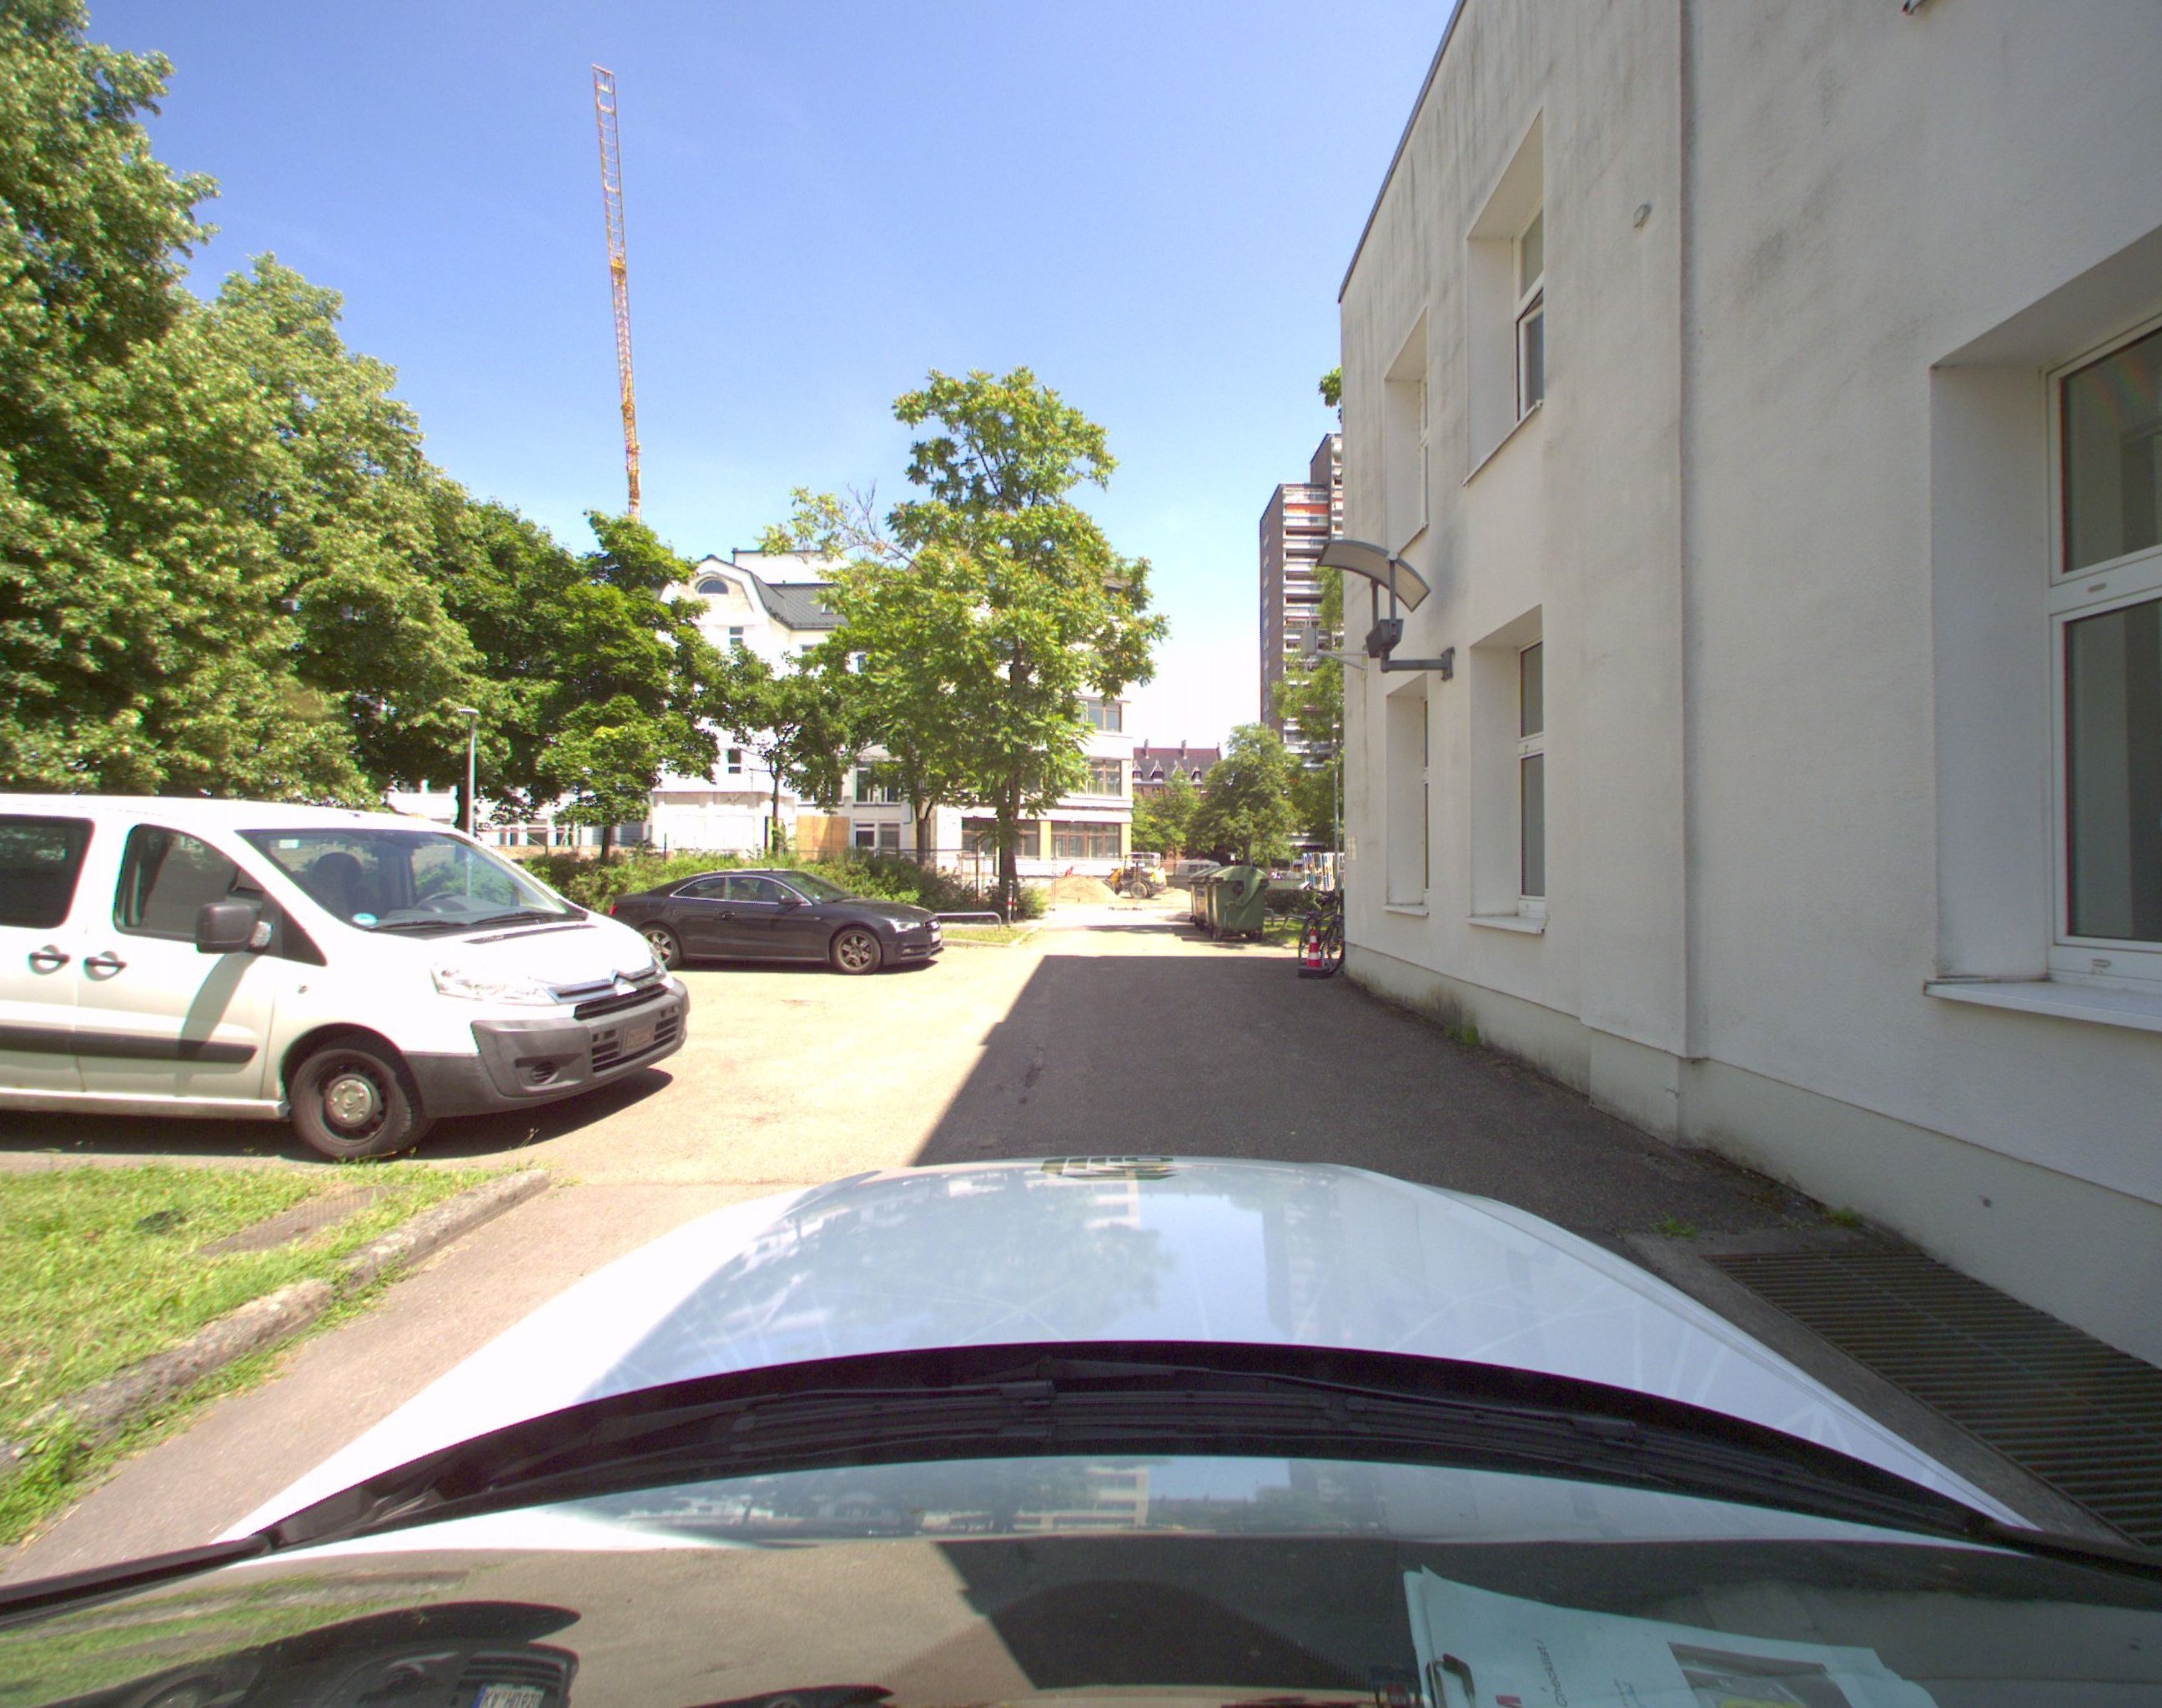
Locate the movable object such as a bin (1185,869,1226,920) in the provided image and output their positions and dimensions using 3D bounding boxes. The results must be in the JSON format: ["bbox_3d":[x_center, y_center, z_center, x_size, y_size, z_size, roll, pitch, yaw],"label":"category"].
[{"bbox_3d":[3.628,1.173,23.841,1.071,1.458,1.378,0,-2,3],"label":"movable object such as a bin"}]

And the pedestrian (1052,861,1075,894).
[{"bbox_3d":[-0.969,1.312,46.003,0.920,1.847,0.976,1,-2,-32],"label":"pedestrian"}]

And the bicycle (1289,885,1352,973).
[{"bbox_3d":[3.312,1.000,11.371,0.403,1.102,1.827,0,-2,2],"label":"bicycle"}]

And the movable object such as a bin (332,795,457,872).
[{"bbox_3d":[-39.856,-1.121,47.353,5.677,4.373,2.003,0,-2,5],"label":"movable object such as a bin"}]

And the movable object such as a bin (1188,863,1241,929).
[{"bbox_3d":[3.084,0.956,18.928,1.071,1.458,1.378,0,-2,3],"label":"movable object such as a bin"}]

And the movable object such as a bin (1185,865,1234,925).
[{"bbox_3d":[3.199,1.008,20.347,1.071,1.458,1.378,0,-2,3],"label":"movable object such as a bin"}]

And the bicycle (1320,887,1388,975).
[{"bbox_3d":[3.781,1.025,11.411,0.403,1.102,1.827,0,-2,2],"label":"bicycle"}]

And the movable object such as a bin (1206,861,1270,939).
[{"bbox_3d":[3.055,0.880,16.012,1.071,1.458,1.378,0,-2,3],"label":"movable object such as a bin"}]

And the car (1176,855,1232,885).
[{"bbox_3d":[10.349,1.398,68.956,2.004,2.417,5.197,1,-2,-27],"label":"car"}]

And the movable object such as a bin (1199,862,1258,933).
[{"bbox_3d":[3.134,0.918,17.454,1.071,1.458,1.378,0,-2,3],"label":"movable object such as a bin"}]

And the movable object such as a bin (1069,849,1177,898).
[{"bbox_3d":[2.288,1.031,44.946,5.352,2.464,2.382,1,-1,30],"label":"movable object such as a bin"}]

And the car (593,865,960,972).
[{"bbox_3d":[-4.150,0.857,11.633,4.409,1.380,2.026,0,-2,4],"label":"car"}]

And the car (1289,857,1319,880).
[{"bbox_3d":[22.146,1.454,80.614,2.165,2.258,4.895,-1,-2,24],"label":"car"}]

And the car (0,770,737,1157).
[{"bbox_3d":[-5.055,0.556,5.154,4.826,1.883,2.069,0,-2,4],"label":"car"}]
